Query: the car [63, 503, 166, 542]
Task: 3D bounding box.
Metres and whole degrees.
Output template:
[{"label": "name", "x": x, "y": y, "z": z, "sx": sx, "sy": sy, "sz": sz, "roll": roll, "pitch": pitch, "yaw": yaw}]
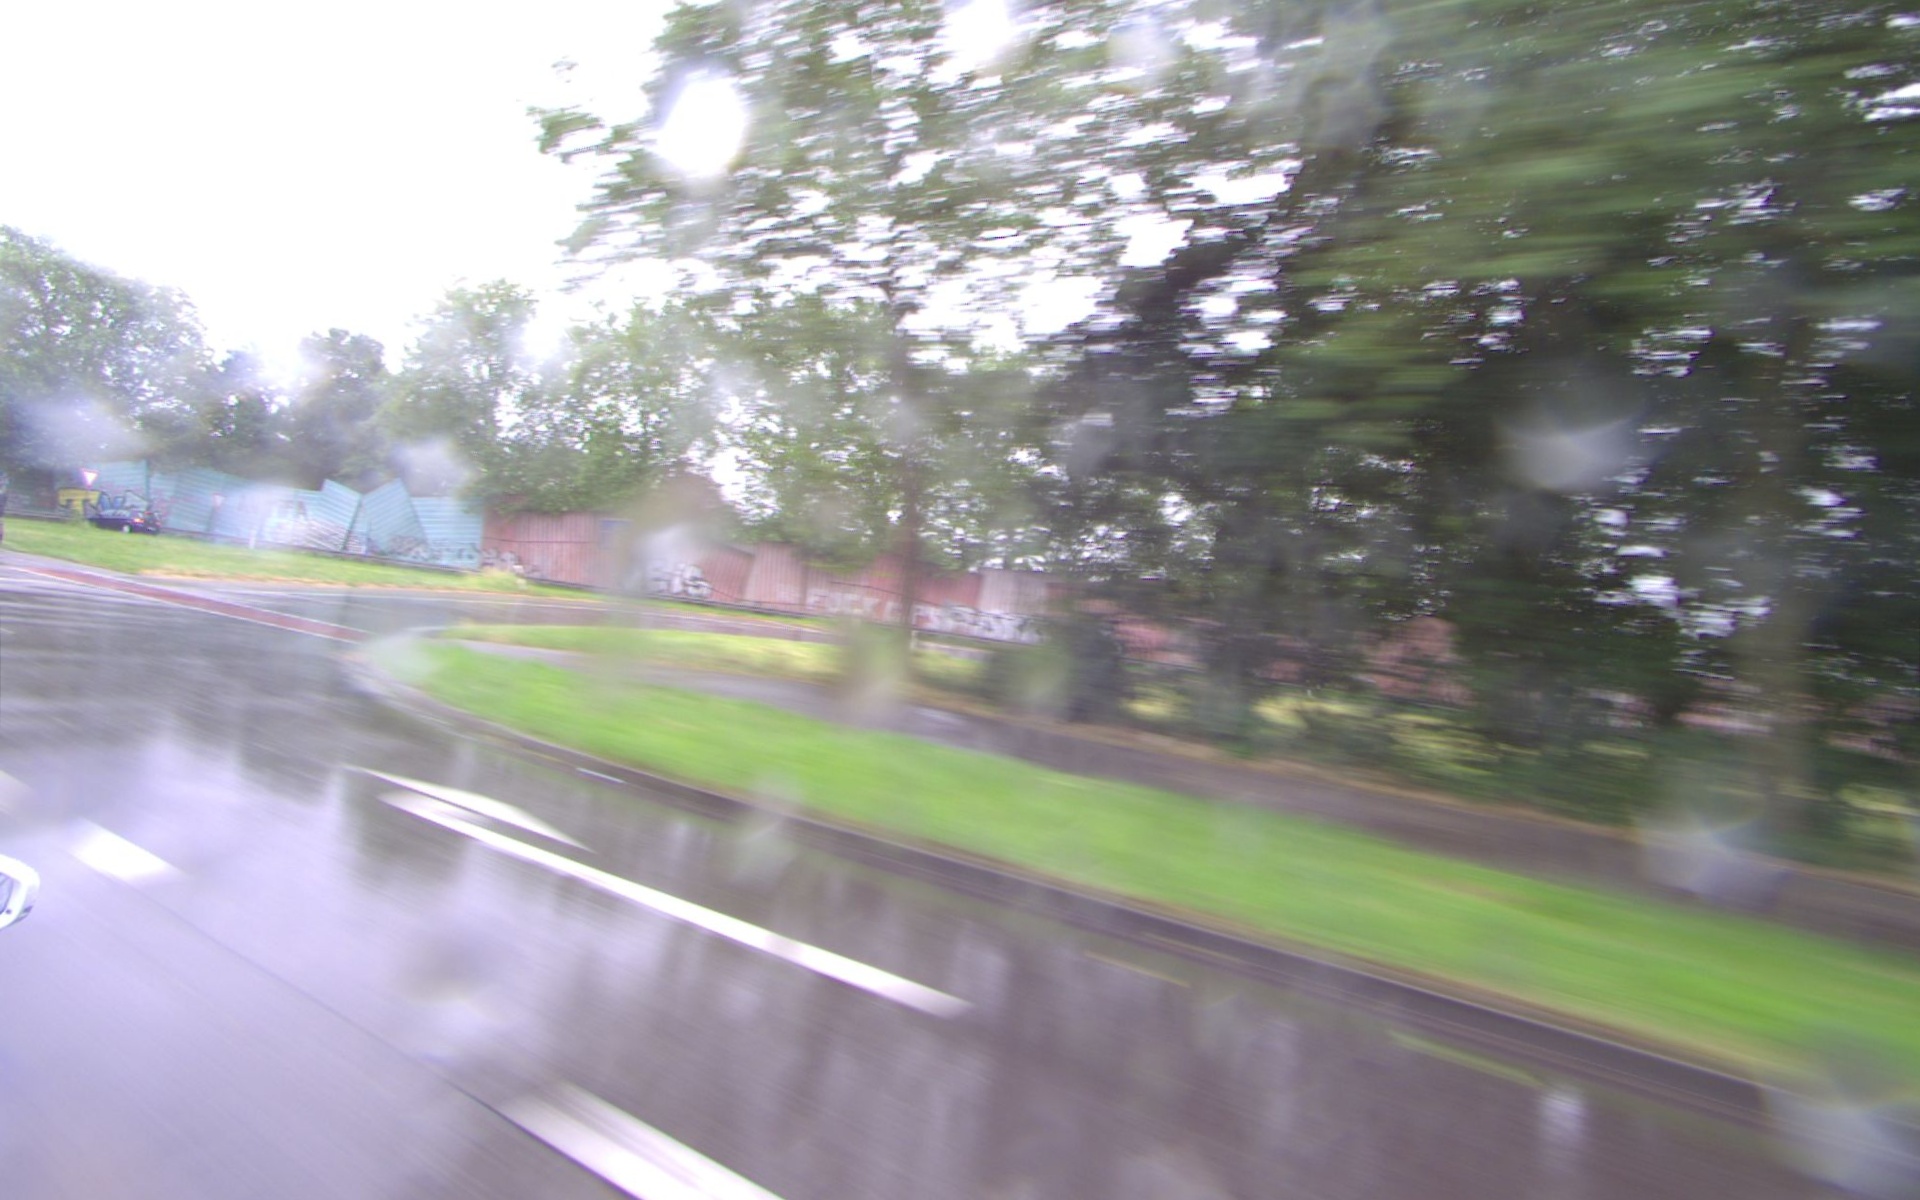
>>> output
[{"label": "car", "x": -48.495, "y": -4.431, "z": 57.726, "sx": 4.431, "sy": 1.555, "sz": 1.870, "roll": 7, "pitch": 0, "yaw": 6}]
